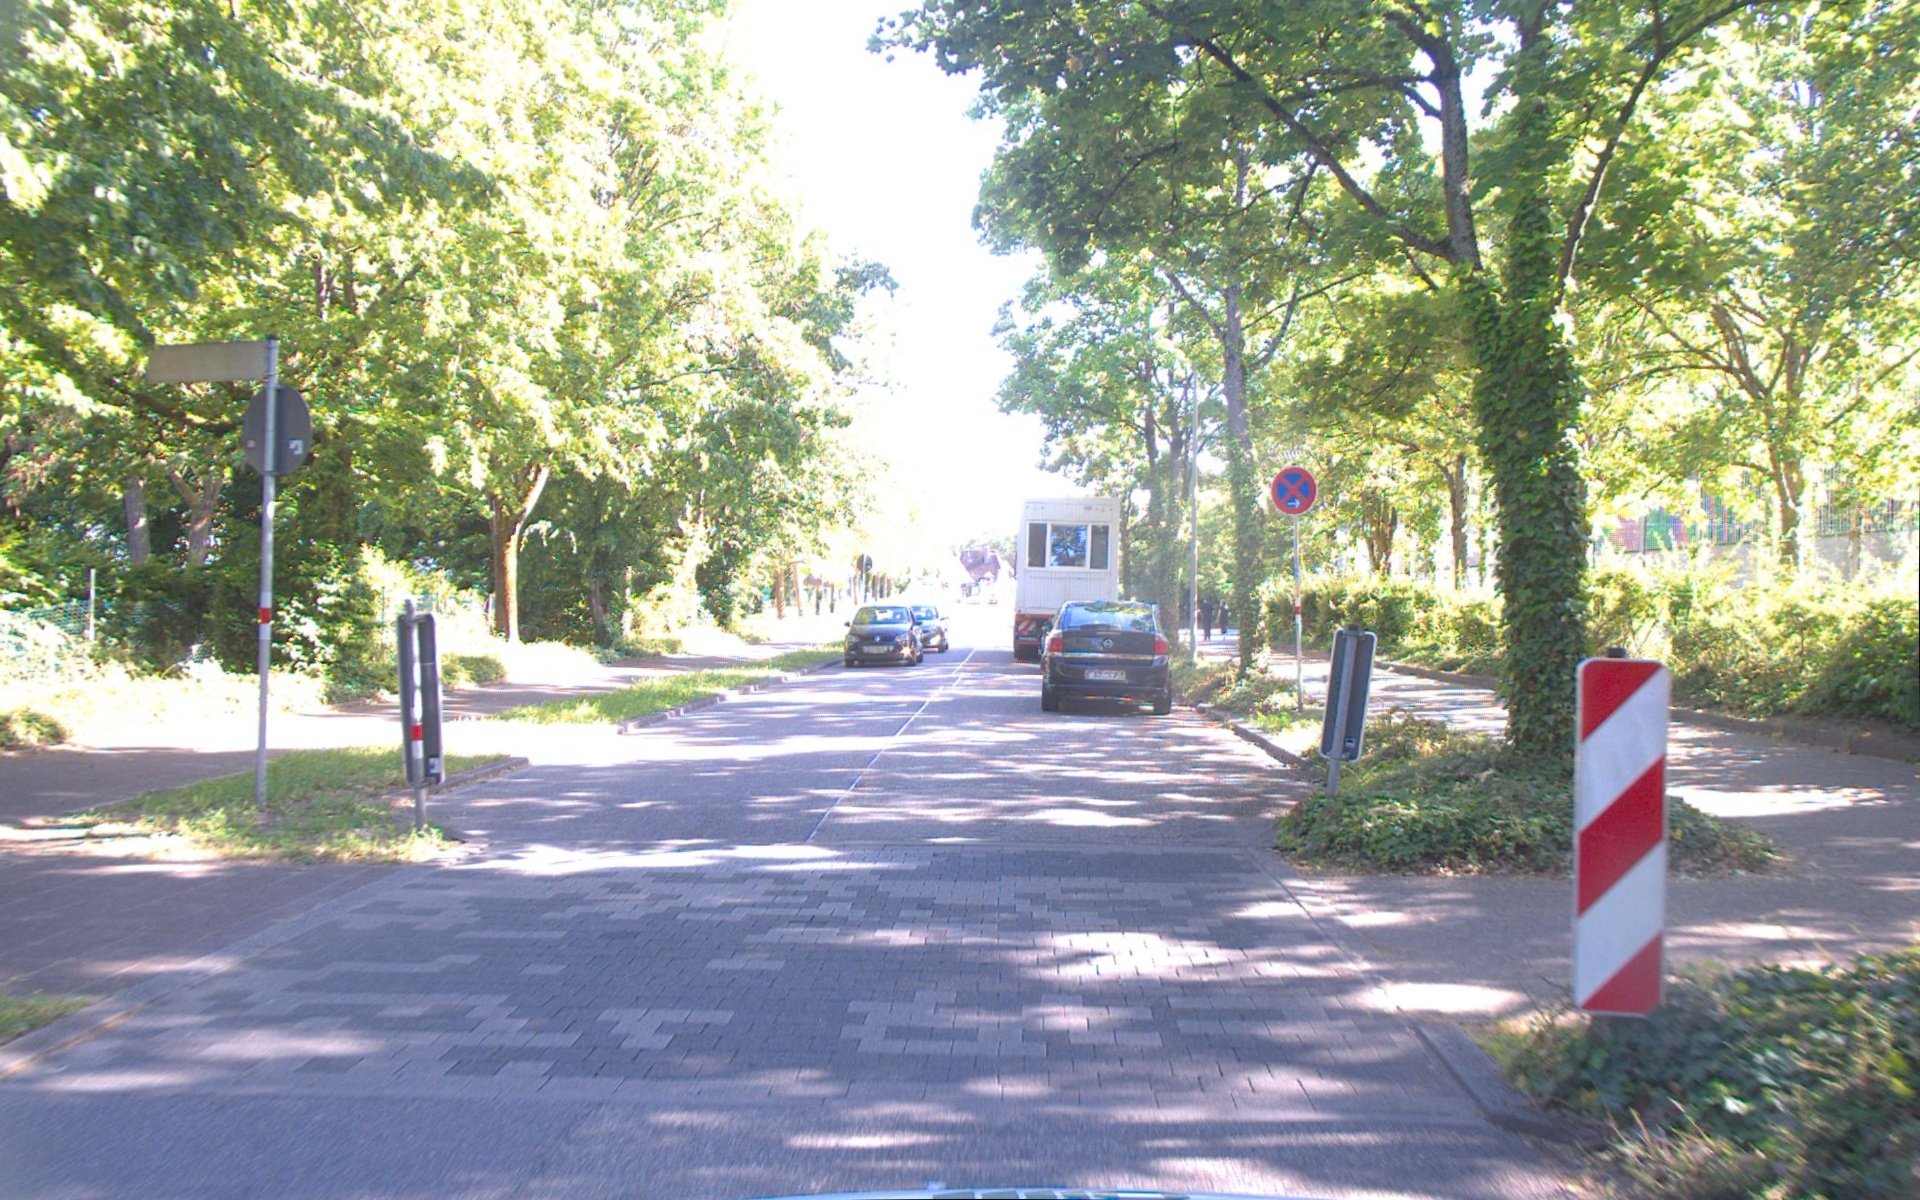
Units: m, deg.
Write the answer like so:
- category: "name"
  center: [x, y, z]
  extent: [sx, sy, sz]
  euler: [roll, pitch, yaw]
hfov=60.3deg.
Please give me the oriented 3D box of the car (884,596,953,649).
- category: "car"
  center: [-1.203, 0.644, 49.821]
  extent: [1.718, 1.479, 4.245]
  euler: [-1, 0, 3]

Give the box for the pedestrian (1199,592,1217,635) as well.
- category: "pedestrian"
  center: [9.651, 0.516, 64.267]
  extent: [0.586, 1.639, 0.600]
  euler: [-1, 0, -1]

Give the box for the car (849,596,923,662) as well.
- category: "car"
  center: [-1.710, 0.655, 39.094]
  extent: [1.568, 1.451, 3.652]
  euler: [-1, 0, 0]

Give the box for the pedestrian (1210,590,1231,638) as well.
- category: "pedestrian"
  center: [10.133, 0.521, 64.308]
  extent: [0.684, 1.844, 0.700]
  euler: [-1, 0, -1]

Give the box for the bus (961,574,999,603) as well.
- category: "bus"
  center: [2.476, -1.368, 200.059]
  extent: [3.979, 3.407, 9.806]
  euler: [-1, 0, 4]

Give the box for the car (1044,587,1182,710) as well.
- category: "car"
  center: [2.060, 0.629, 22.878]
  extent: [1.712, 1.506, 4.032]
  euler: [1, 0, 4]

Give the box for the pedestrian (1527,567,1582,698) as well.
- category: "pedestrian"
  center: [7.620, 0.409, 21.219]
  extent: [0.559, 1.636, 0.672]
  euler: [1, 0, 11]

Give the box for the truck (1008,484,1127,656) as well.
- category: "truck"
  center: [2.739, -0.753, 45.024]
  extent: [2.715, 4.065, 10.350]
  euler: [2, 0, 1]
